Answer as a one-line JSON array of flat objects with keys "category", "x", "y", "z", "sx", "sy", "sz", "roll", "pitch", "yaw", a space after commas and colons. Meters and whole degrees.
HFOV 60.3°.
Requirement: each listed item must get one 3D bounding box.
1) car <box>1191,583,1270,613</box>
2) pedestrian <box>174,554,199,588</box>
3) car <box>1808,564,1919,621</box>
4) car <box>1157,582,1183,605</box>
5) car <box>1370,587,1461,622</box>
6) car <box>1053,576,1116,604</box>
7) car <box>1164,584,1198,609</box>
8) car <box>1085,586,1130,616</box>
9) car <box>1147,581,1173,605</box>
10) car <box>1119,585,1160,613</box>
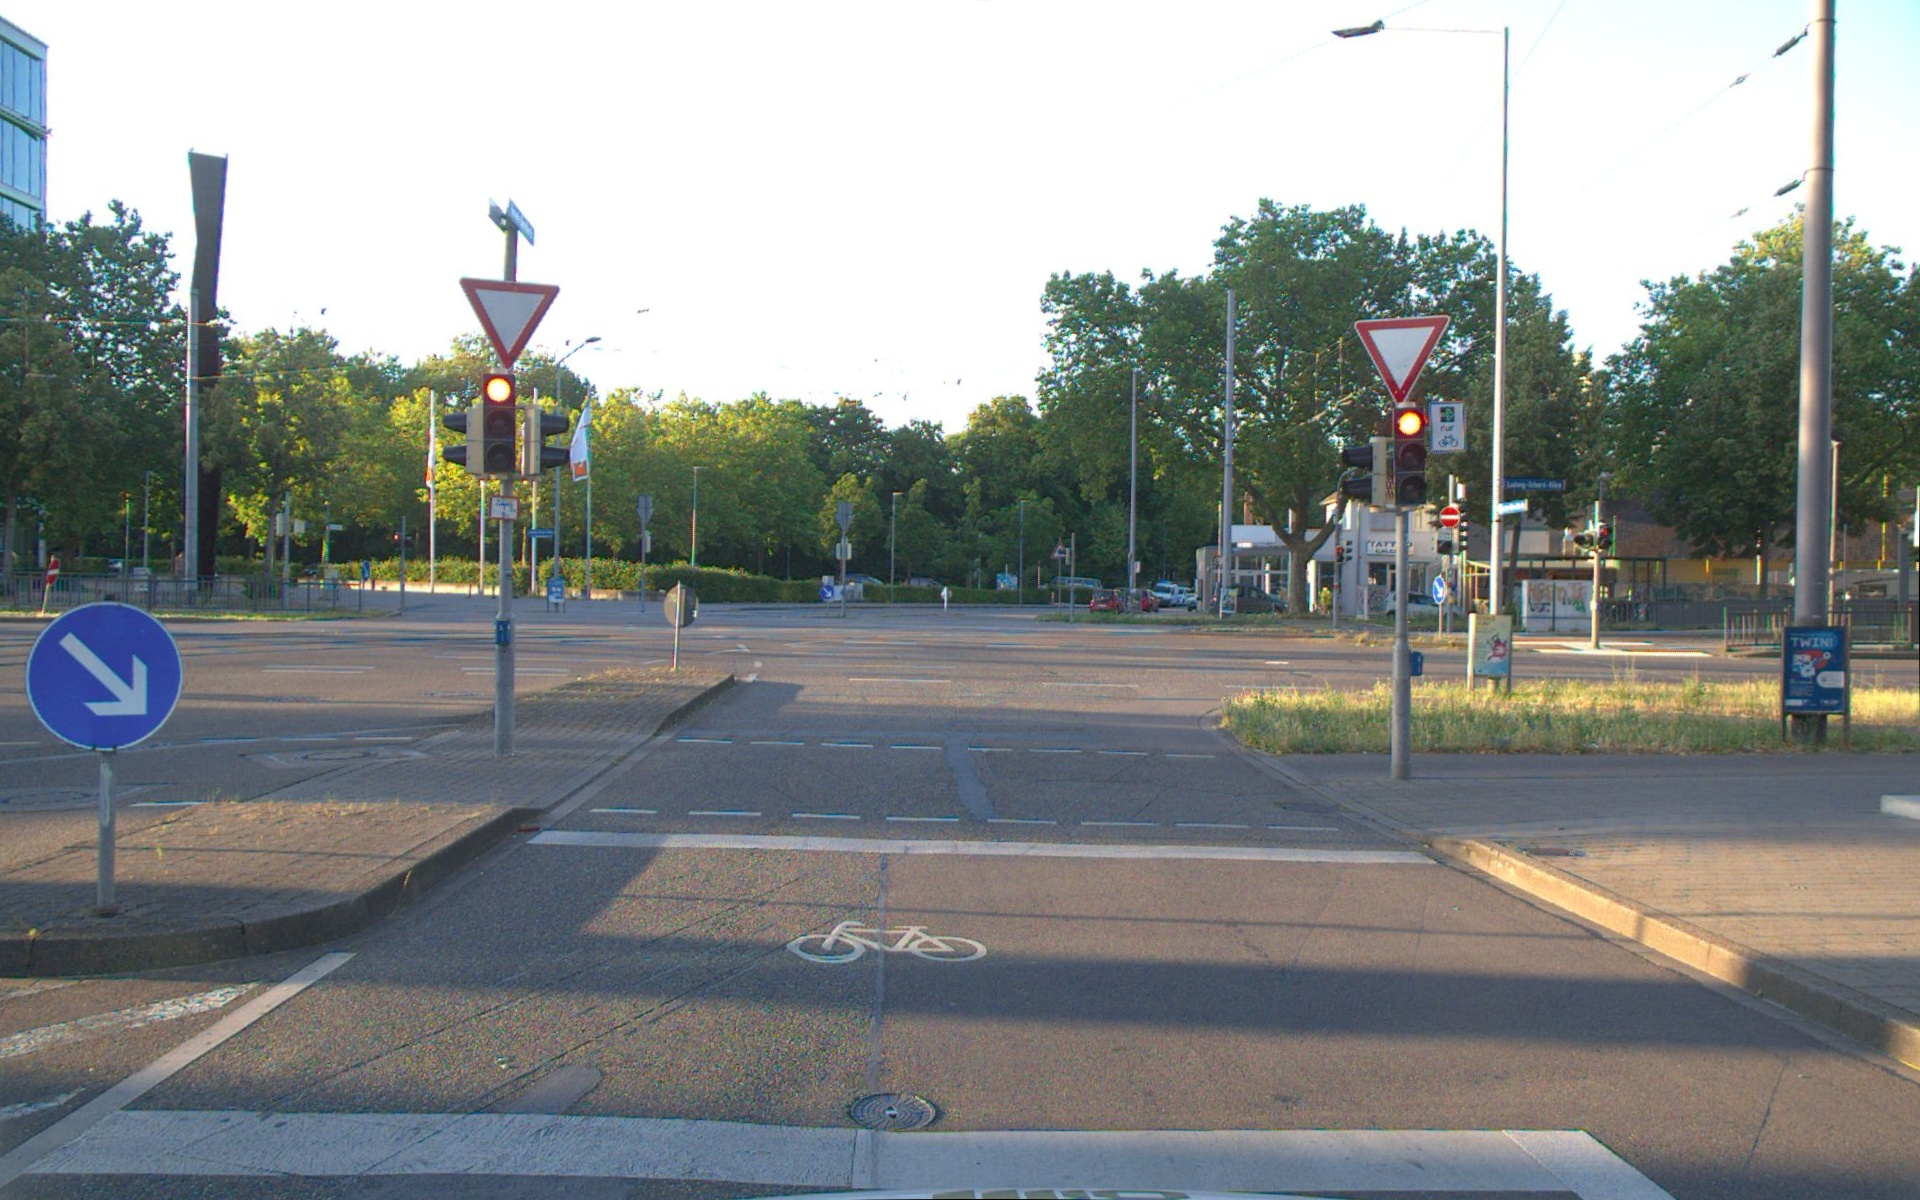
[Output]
[{"category": "car", "x": 14.606, "y": -0.091, "z": 89.405, "sx": 4.129, "sy": 1.579, "sz": 2.001, "roll": 1, "pitch": -1, "yaw": 7}, {"category": "pedestrian", "x": -41.414, "y": -1.547, "z": 88.557, "sx": 0.843, "sy": 1.774, "sz": 0.829, "roll": 1, "pitch": 0, "yaw": 28}, {"category": "car", "x": 43.670, "y": -0.355, "z": 78.704, "sx": 5.476, "sy": 2.596, "sz": 2.231, "roll": 1, "pitch": 0, "yaw": 7}, {"category": "car", "x": 17.344, "y": -0.533, "z": 136.369, "sx": 1.823, "sy": 1.825, "sz": 4.003, "roll": 1, "pitch": 0, "yaw": 12}, {"category": "car", "x": 19.952, "y": 0.212, "z": 72.575, "sx": 3.659, "sy": 1.465, "sz": 1.665, "roll": 1, "pitch": -1, "yaw": 9}, {"category": "car", "x": 9.448, "y": -0.757, "z": 126.040, "sx": 4.675, "sy": 2.041, "sz": 2.000, "roll": 1, "pitch": -1, "yaw": 1}, {"category": "car", "x": 15.498, "y": -0.216, "z": 115.850, "sx": 1.951, "sy": 1.691, "sz": 4.003, "roll": 0, "pitch": 0, "yaw": 14}, {"category": "car", "x": 8.572, "y": 0.094, "z": 95.826, "sx": 1.951, "sy": 1.691, "sz": 4.003, "roll": 0, "pitch": 0, "yaw": 14}, {"category": "car", "x": 15.937, "y": -0.537, "z": 131.453, "sx": 1.823, "sy": 1.825, "sz": 4.003, "roll": 1, "pitch": 0, "yaw": 10}, {"category": "car", "x": 11.267, "y": -0.042, "z": 103.557, "sx": 1.951, "sy": 1.691, "sz": 4.003, "roll": 0, "pitch": 0, "yaw": 14}]
